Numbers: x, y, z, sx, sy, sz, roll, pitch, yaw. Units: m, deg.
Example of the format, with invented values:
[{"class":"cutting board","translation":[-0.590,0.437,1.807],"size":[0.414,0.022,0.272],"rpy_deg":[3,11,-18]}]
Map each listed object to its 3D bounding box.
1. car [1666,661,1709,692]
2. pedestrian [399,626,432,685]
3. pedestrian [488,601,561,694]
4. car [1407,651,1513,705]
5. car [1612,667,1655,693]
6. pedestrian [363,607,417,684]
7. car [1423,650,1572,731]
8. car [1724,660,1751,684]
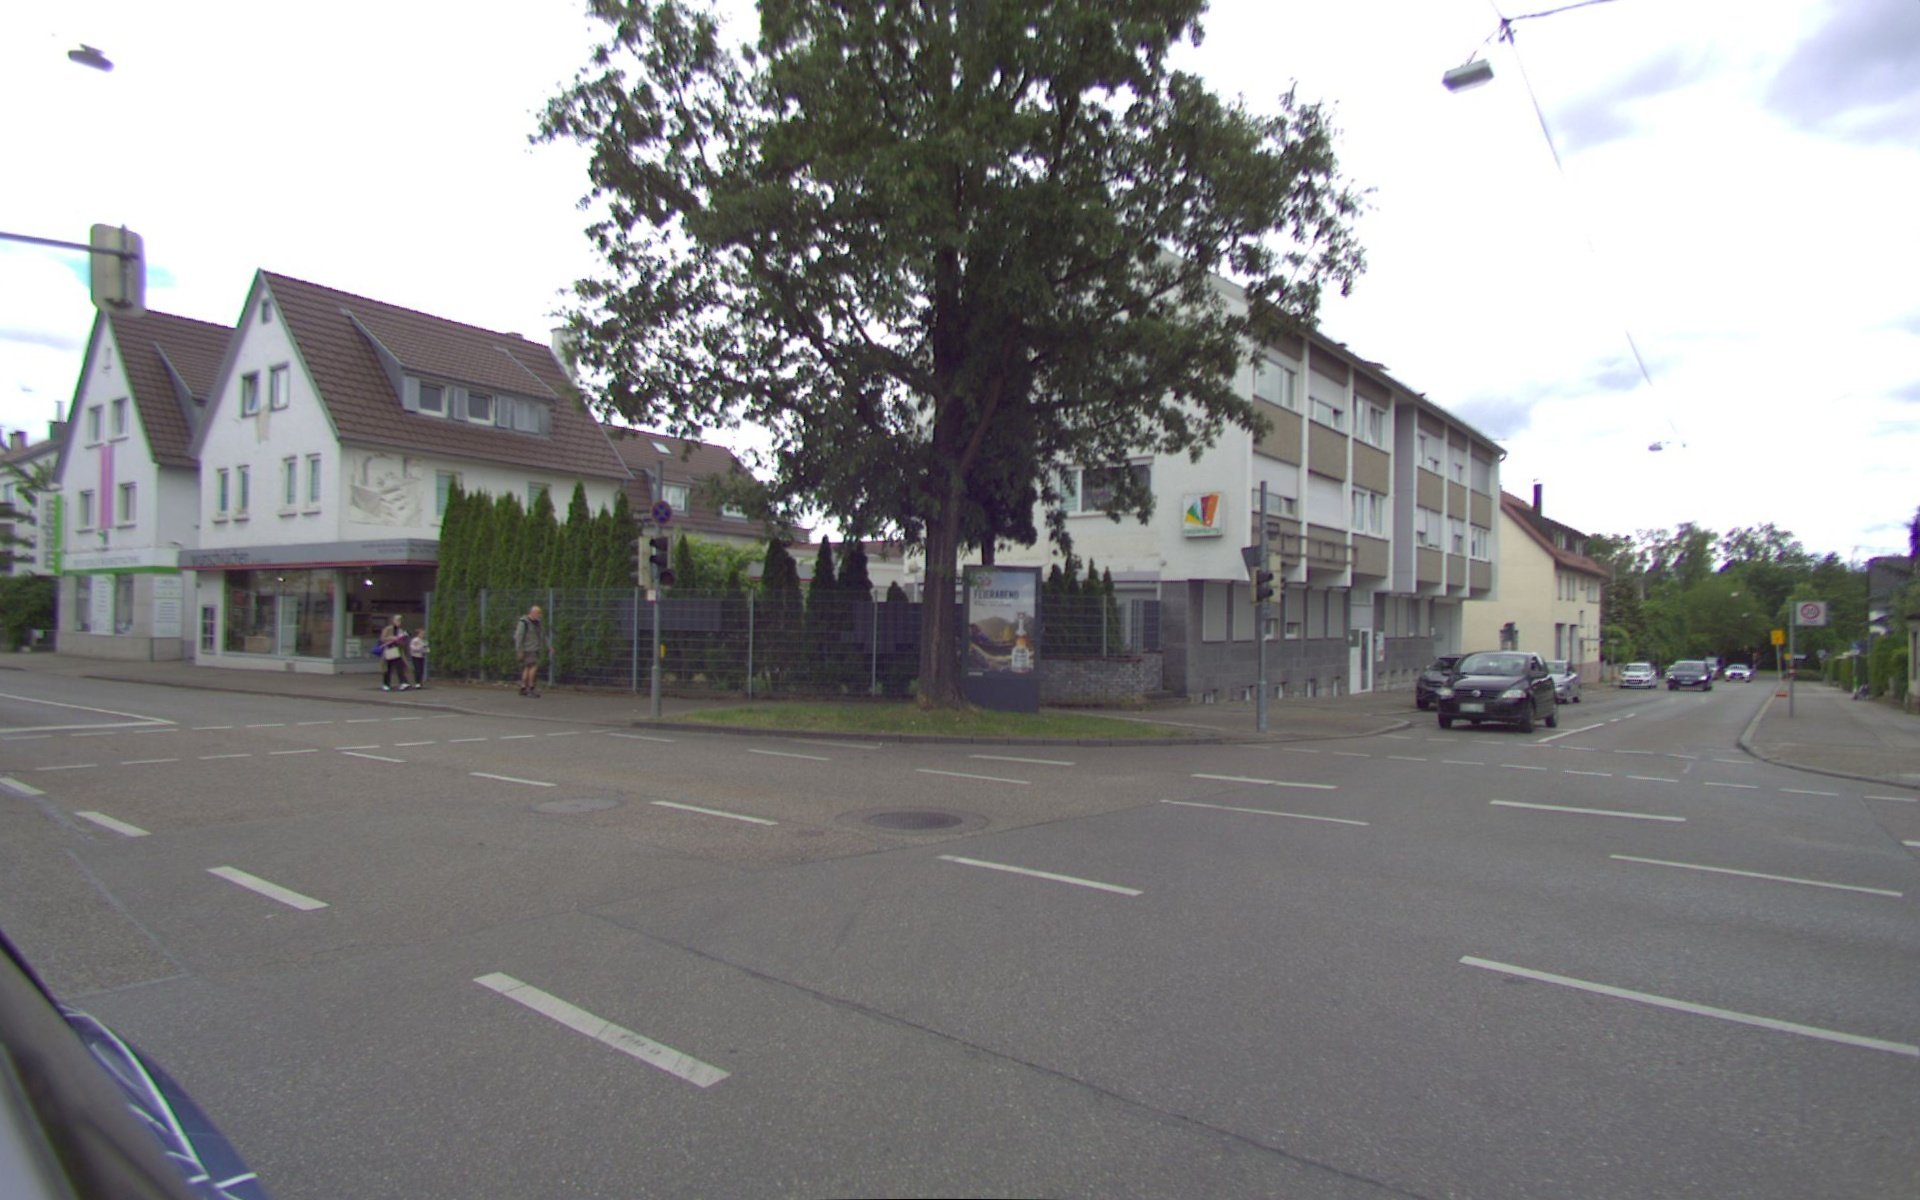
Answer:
[{"class":"car","translation":[40.252,4.218,55.970],"size":[1.740,1.528,3.949],"rpy_deg":[-1,-2,38]},{"class":"pedestrian","translation":[-11.973,1.207,22.255],"size":[0.547,1.271,0.379],"rpy_deg":[0,0,25]},{"class":"pedestrian","translation":[-8.553,0.898,19.886],"size":[1.227,1.767,0.814],"rpy_deg":[0,0,36]},{"class":"car","translation":[14.138,2.207,28.522],"size":[1.756,1.409,3.595],"rpy_deg":[-3,-6,42]},{"class":"car","translation":[40.554,4.808,60.906],"size":[1.791,1.472,4.360],"rpy_deg":[-2,-4,37]},{"class":"pedestrian","translation":[-12.282,0.960,21.802],"size":[0.861,1.617,0.636],"rpy_deg":[0,0,25]},{"class":"car","translation":[10.593,1.742,19.837],"size":[1.771,1.409,3.594],"rpy_deg":[-2,-5,42]},{"class":"car","translation":[75.168,6.958,97.812],"size":[1.997,2.029,3.949],"rpy_deg":[0,0,38]}]
